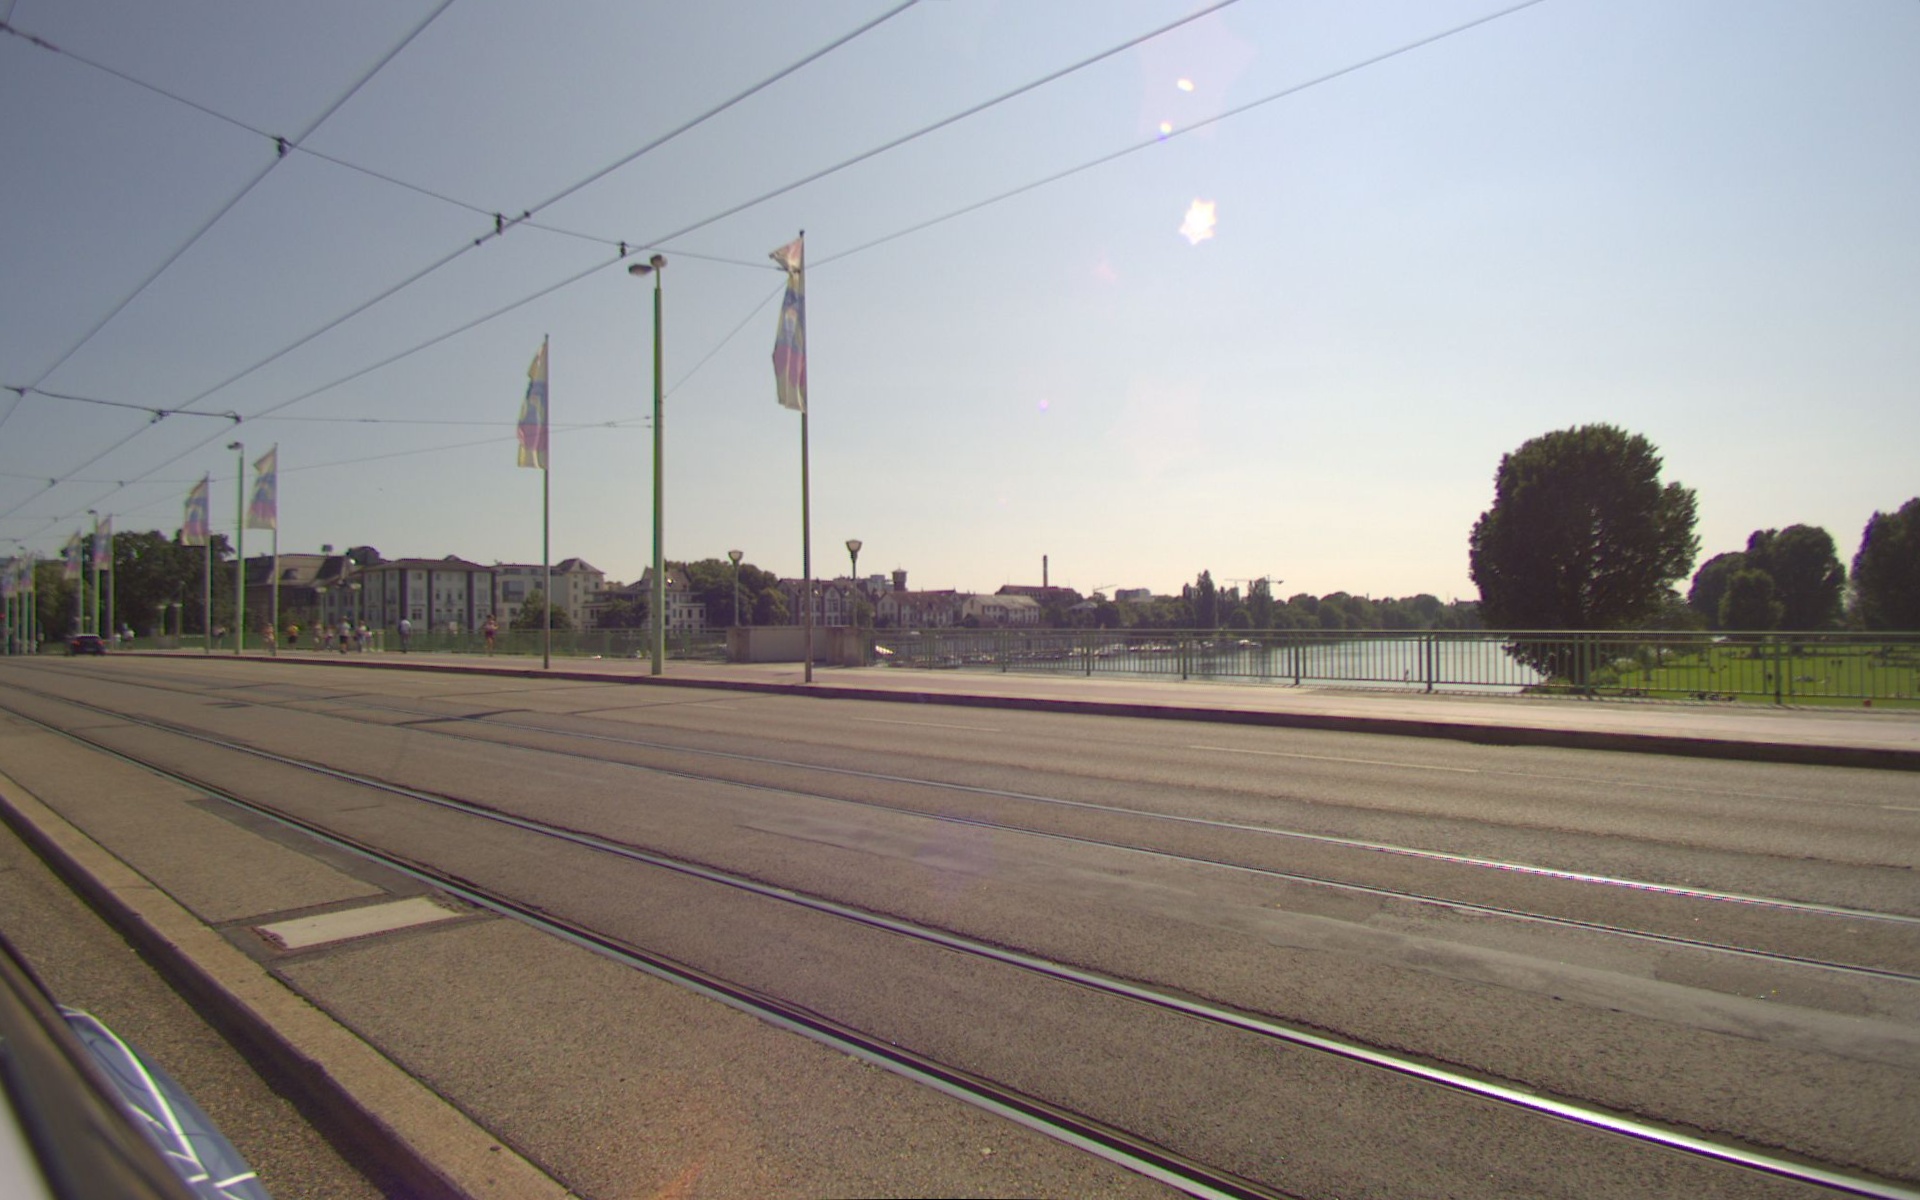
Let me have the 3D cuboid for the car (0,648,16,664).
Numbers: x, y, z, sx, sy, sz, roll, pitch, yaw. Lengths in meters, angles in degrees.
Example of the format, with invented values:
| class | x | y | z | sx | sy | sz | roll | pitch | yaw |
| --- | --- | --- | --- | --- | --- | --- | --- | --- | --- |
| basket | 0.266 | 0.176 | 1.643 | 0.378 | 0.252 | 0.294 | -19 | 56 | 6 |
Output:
| class | x | y | z | sx | sy | sz | roll | pitch | yaw |
| --- | --- | --- | --- | --- | --- | --- | --- | --- | --- |
| car | -131.751 | 7.799 | 138.226 | 2.000 | 2.028 | 3.945 | -2 | 3 | 42 |

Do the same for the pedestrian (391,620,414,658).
| class | x | y | z | sx | sy | sz | roll | pitch | yaw |
| --- | --- | --- | --- | --- | --- | --- | --- | --- | --- |
| pedestrian | -26.133 | 1.817 | 47.440 | 1.022 | 1.712 | 0.584 | -2 | 0 | 41 |

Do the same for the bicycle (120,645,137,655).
| class | x | y | z | sx | sy | sz | roll | pitch | yaw |
| --- | --- | --- | --- | --- | --- | --- | --- | --- | --- |
| bicycle | -62.045 | 3.718 | 75.525 | 2.171 | 0.721 | 0.658 | -2 | -2 | 41 |

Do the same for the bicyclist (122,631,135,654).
| class | x | y | z | sx | sy | sz | roll | pitch | yaw |
| --- | --- | --- | --- | --- | --- | --- | --- | --- | --- |
| bicyclist | -62.018 | 3.171 | 75.511 | 0.621 | 1.663 | 0.657 | -2 | -2 | 42 |

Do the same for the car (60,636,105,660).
| class | x | y | z | sx | sy | sz | roll | pitch | yaw |
| --- | --- | --- | --- | --- | --- | --- | --- | --- | --- |
| car | -57.370 | 3.124 | 66.155 | 3.899 | 1.466 | 1.698 | -2 | -3 | 41 |

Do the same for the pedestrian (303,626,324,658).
| class | x | y | z | sx | sy | sz | roll | pitch | yaw |
| --- | --- | --- | --- | --- | --- | --- | --- | --- | --- |
| pedestrian | -33.360 | 2.164 | 52.219 | 1.022 | 1.611 | 0.620 | -2 | 0 | 41 |

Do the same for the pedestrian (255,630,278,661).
| class | x | y | z | sx | sy | sz | roll | pitch | yaw |
| --- | --- | --- | --- | --- | --- | --- | --- | --- | --- |
| pedestrian | -38.784 | 2.533 | 56.603 | 1.022 | 1.712 | 0.777 | -2 | 0 | 41 |

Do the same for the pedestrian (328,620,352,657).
| class | x | y | z | sx | sy | sz | roll | pitch | yaw |
| --- | --- | --- | --- | --- | --- | --- | --- | --- | --- |
| pedestrian | -29.596 | 1.850 | 48.329 | 1.022 | 1.712 | 0.663 | -2 | 0 | 41 |

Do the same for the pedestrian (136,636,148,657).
| class | x | y | z | sx | sy | sz | roll | pitch | yaw |
| --- | --- | --- | --- | --- | --- | --- | --- | --- | --- |
| pedestrian | -69.885 | 3.976 | 86.447 | 0.904 | 1.712 | 0.584 | -2 | 3 | 41 |

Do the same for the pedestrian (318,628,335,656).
| class | x | y | z | sx | sy | sz | roll | pitch | yaw |
| --- | --- | --- | --- | --- | --- | --- | --- | --- | --- |
| pedestrian | -33.109 | 2.180 | 52.898 | 0.788 | 1.448 | 0.540 | -2 | 0 | 41 |

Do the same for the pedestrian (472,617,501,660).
| class | x | y | z | sx | sy | sz | roll | pitch | yaw |
| --- | --- | --- | --- | --- | --- | --- | --- | --- | --- |
| pedestrian | -19.137 | 1.559 | 40.892 | 1.022 | 1.703 | 0.677 | -2 | 0 | 41 |

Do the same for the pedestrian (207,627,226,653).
| class | x | y | z | sx | sy | sz | roll | pitch | yaw |
| --- | --- | --- | --- | --- | --- | --- | --- | --- | --- |
| pedestrian | -49.300 | 2.637 | 67.082 | 1.022 | 1.712 | 0.777 | -2 | 0 | 41 |

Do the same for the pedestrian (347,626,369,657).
| class | x | y | z | sx | sy | sz | roll | pitch | yaw |
| --- | --- | --- | --- | --- | --- | --- | --- | --- | --- |
| pedestrian | -28.902 | 1.986 | 48.583 | 1.022 | 1.425 | 0.584 | -2 | 0 | 41 |
